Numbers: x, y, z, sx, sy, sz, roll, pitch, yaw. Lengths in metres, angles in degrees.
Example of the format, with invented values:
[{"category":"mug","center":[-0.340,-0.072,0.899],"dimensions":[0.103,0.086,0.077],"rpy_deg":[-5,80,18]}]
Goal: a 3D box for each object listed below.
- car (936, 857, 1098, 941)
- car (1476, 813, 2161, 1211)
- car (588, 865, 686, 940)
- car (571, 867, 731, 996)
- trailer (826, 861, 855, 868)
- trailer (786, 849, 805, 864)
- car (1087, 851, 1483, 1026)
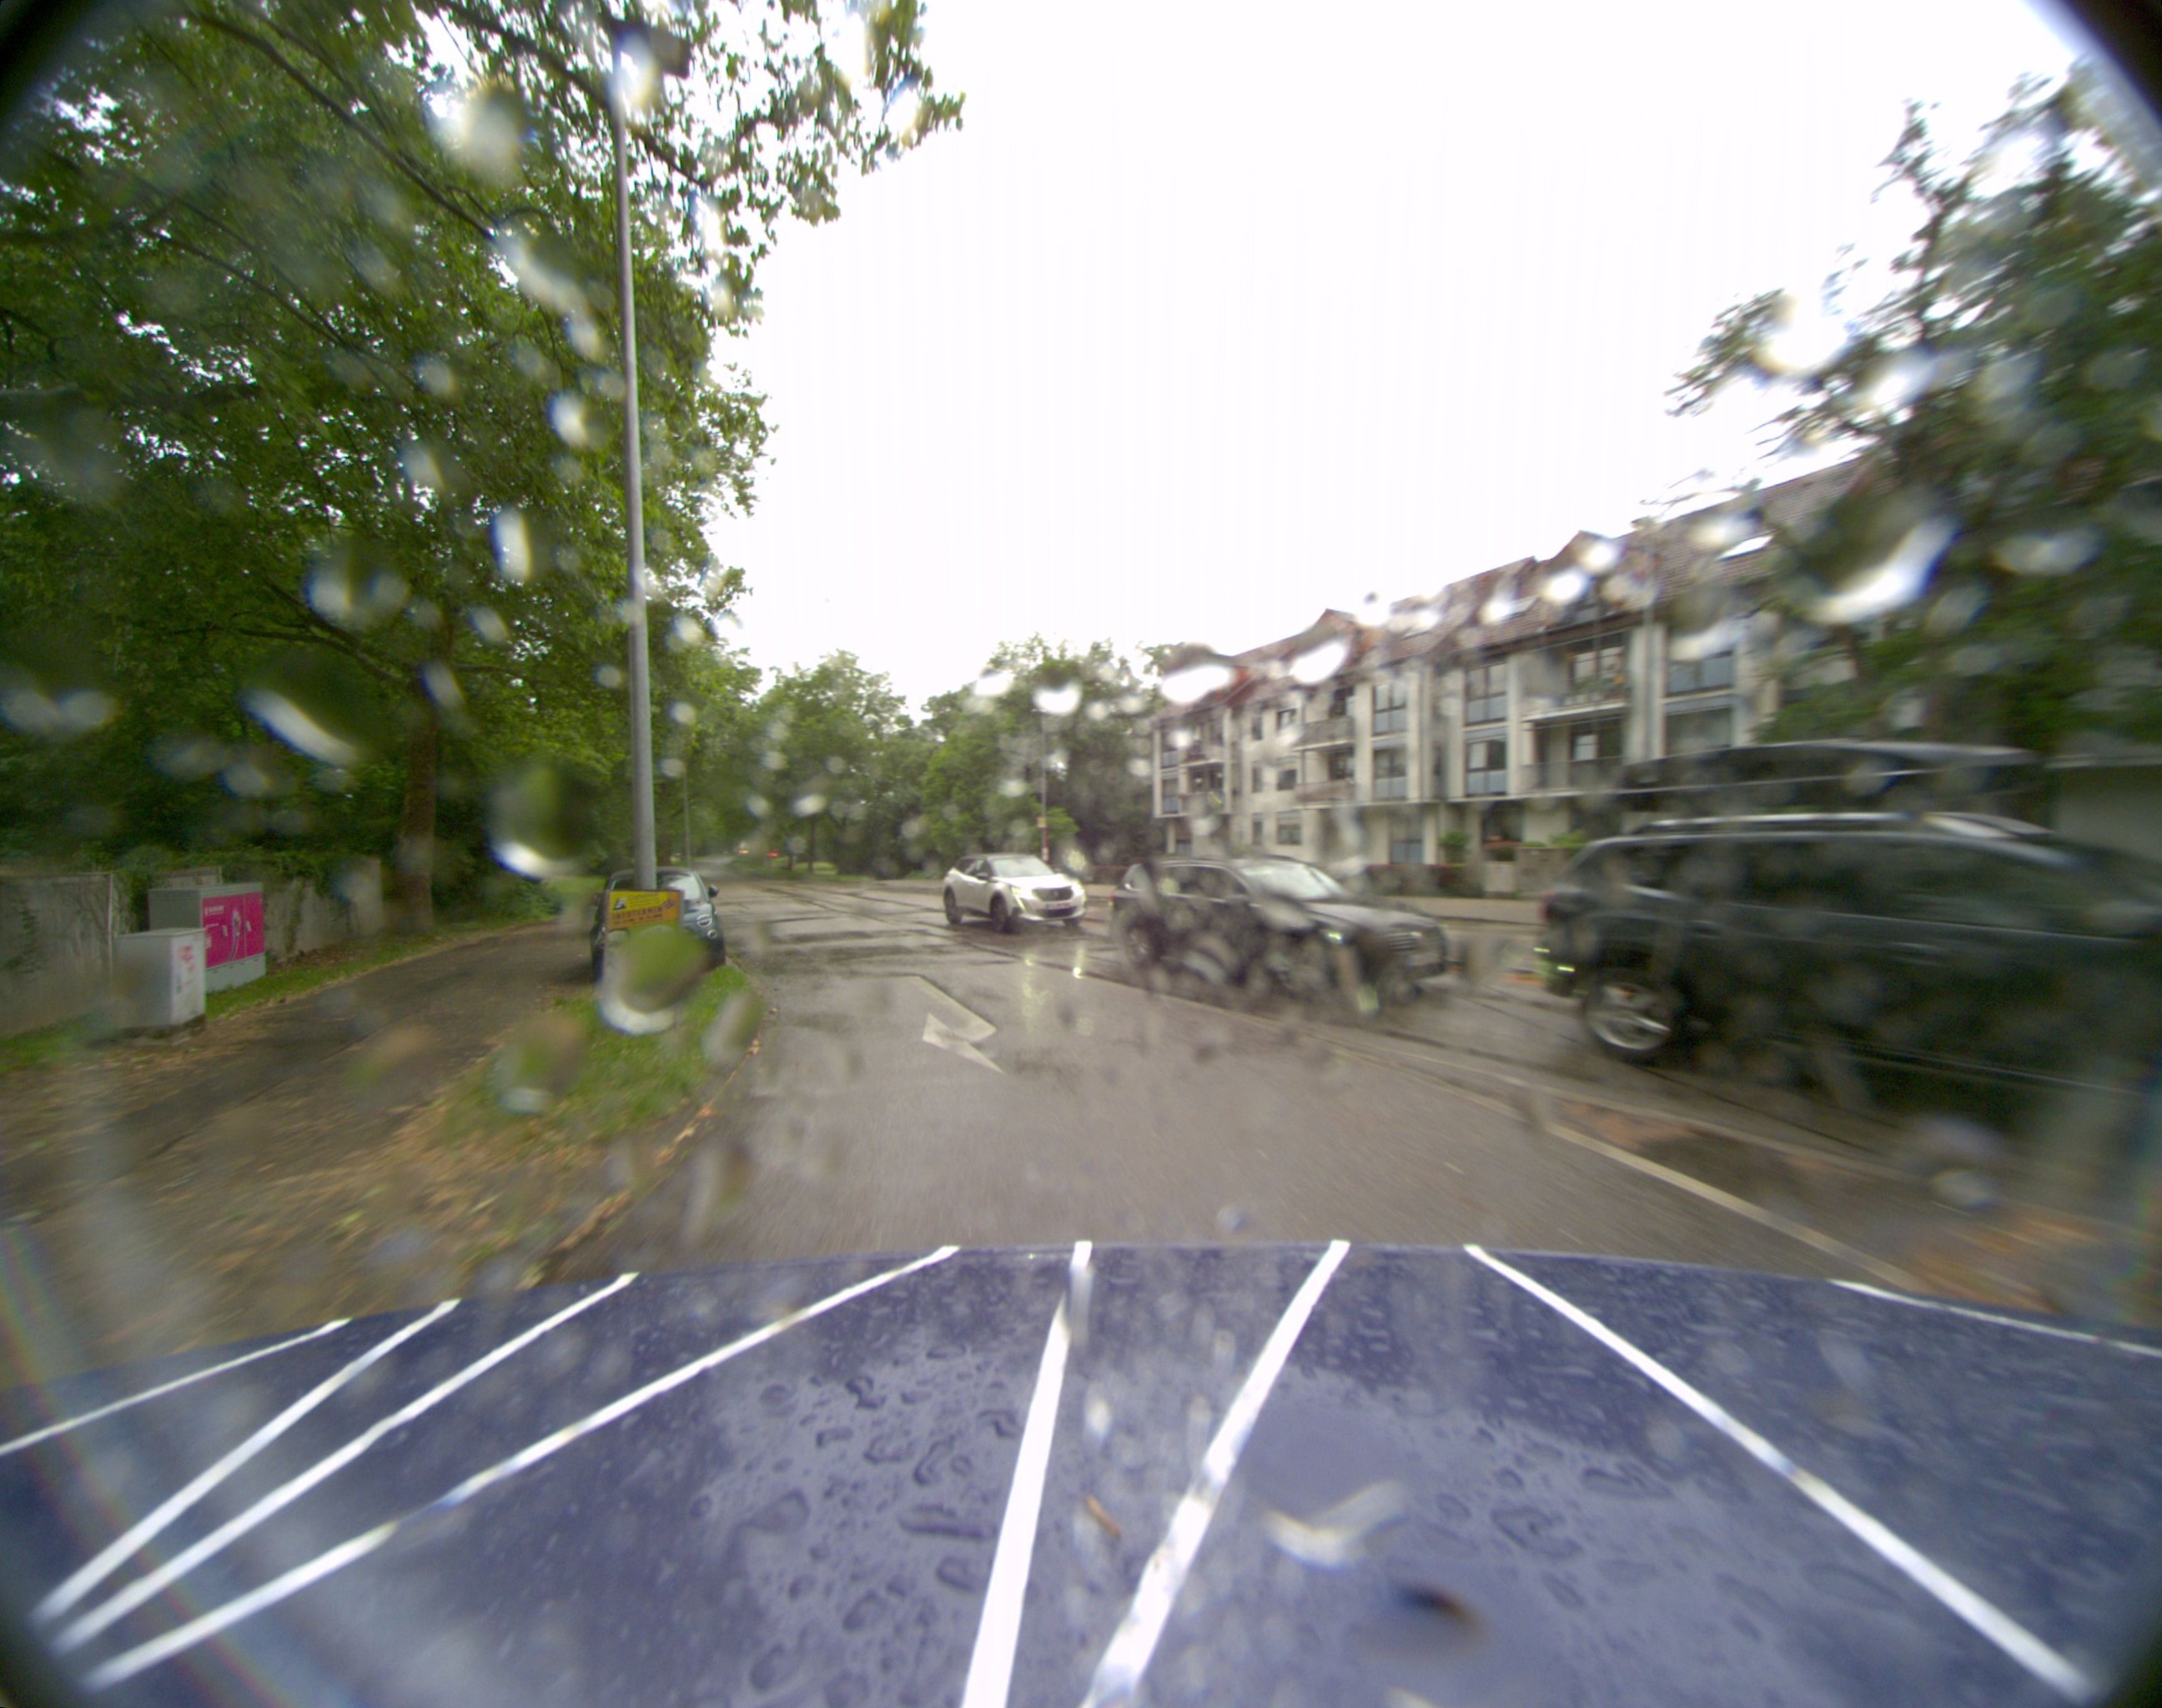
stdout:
[{"category":"car","center":[-1.521,0.825,16.195],"dimensions":[1.761,1.527,4.357],"rpy_deg":[0,0,-30]},{"category":"car","center":[5.011,0.669,4.342],"dimensions":[1.769,1.701,4.590],"rpy_deg":[-3,1,-31]},{"category":"car","center":[-11.618,1.207,19.808],"dimensions":[1.827,1.509,3.734],"rpy_deg":[-10,3,-32]},{"category":"car","center":[-6.612,1.027,11.748],"dimensions":[1.757,1.483,3.591],"rpy_deg":[-5,2,-30]},{"category":"trailer","center":[-40.297,1.772,127.326],"dimensions":[4.337,1.026,2.376],"rpy_deg":[0,1,-28]},{"category":"trailer","center":[-52.949,0.427,140.748],"dimensions":[2.811,2.648,6.637],"rpy_deg":[0,1,-25]},{"category":"car","center":[2.074,0.796,9.235],"dimensions":[1.840,1.448,4.648],"rpy_deg":[-4,1,-30]}]
